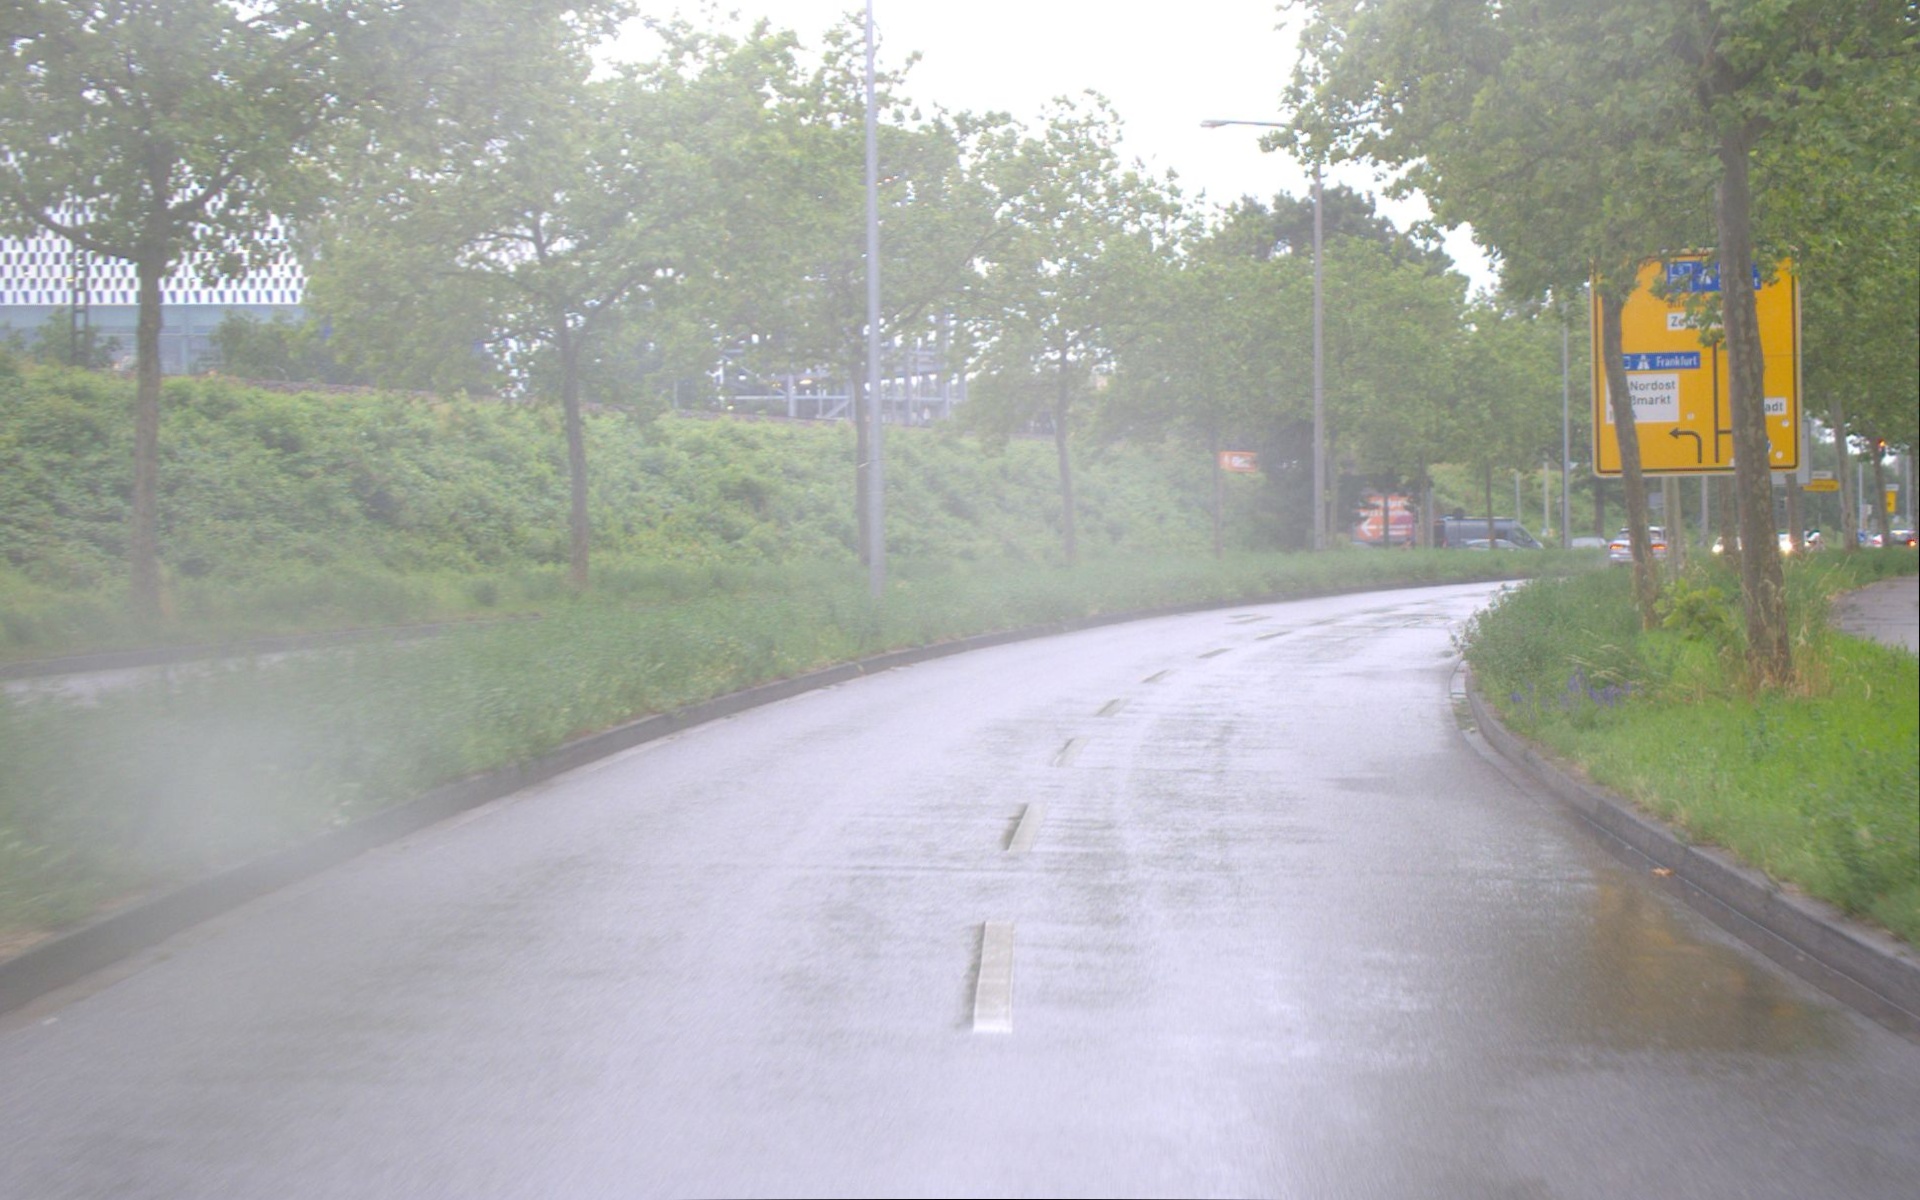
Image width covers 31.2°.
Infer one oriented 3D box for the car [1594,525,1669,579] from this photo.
[{"bbox_3d":[19.987,-1.450,102.236,1.781,1.550,3.997,1,2,16],"label":"car"}]
